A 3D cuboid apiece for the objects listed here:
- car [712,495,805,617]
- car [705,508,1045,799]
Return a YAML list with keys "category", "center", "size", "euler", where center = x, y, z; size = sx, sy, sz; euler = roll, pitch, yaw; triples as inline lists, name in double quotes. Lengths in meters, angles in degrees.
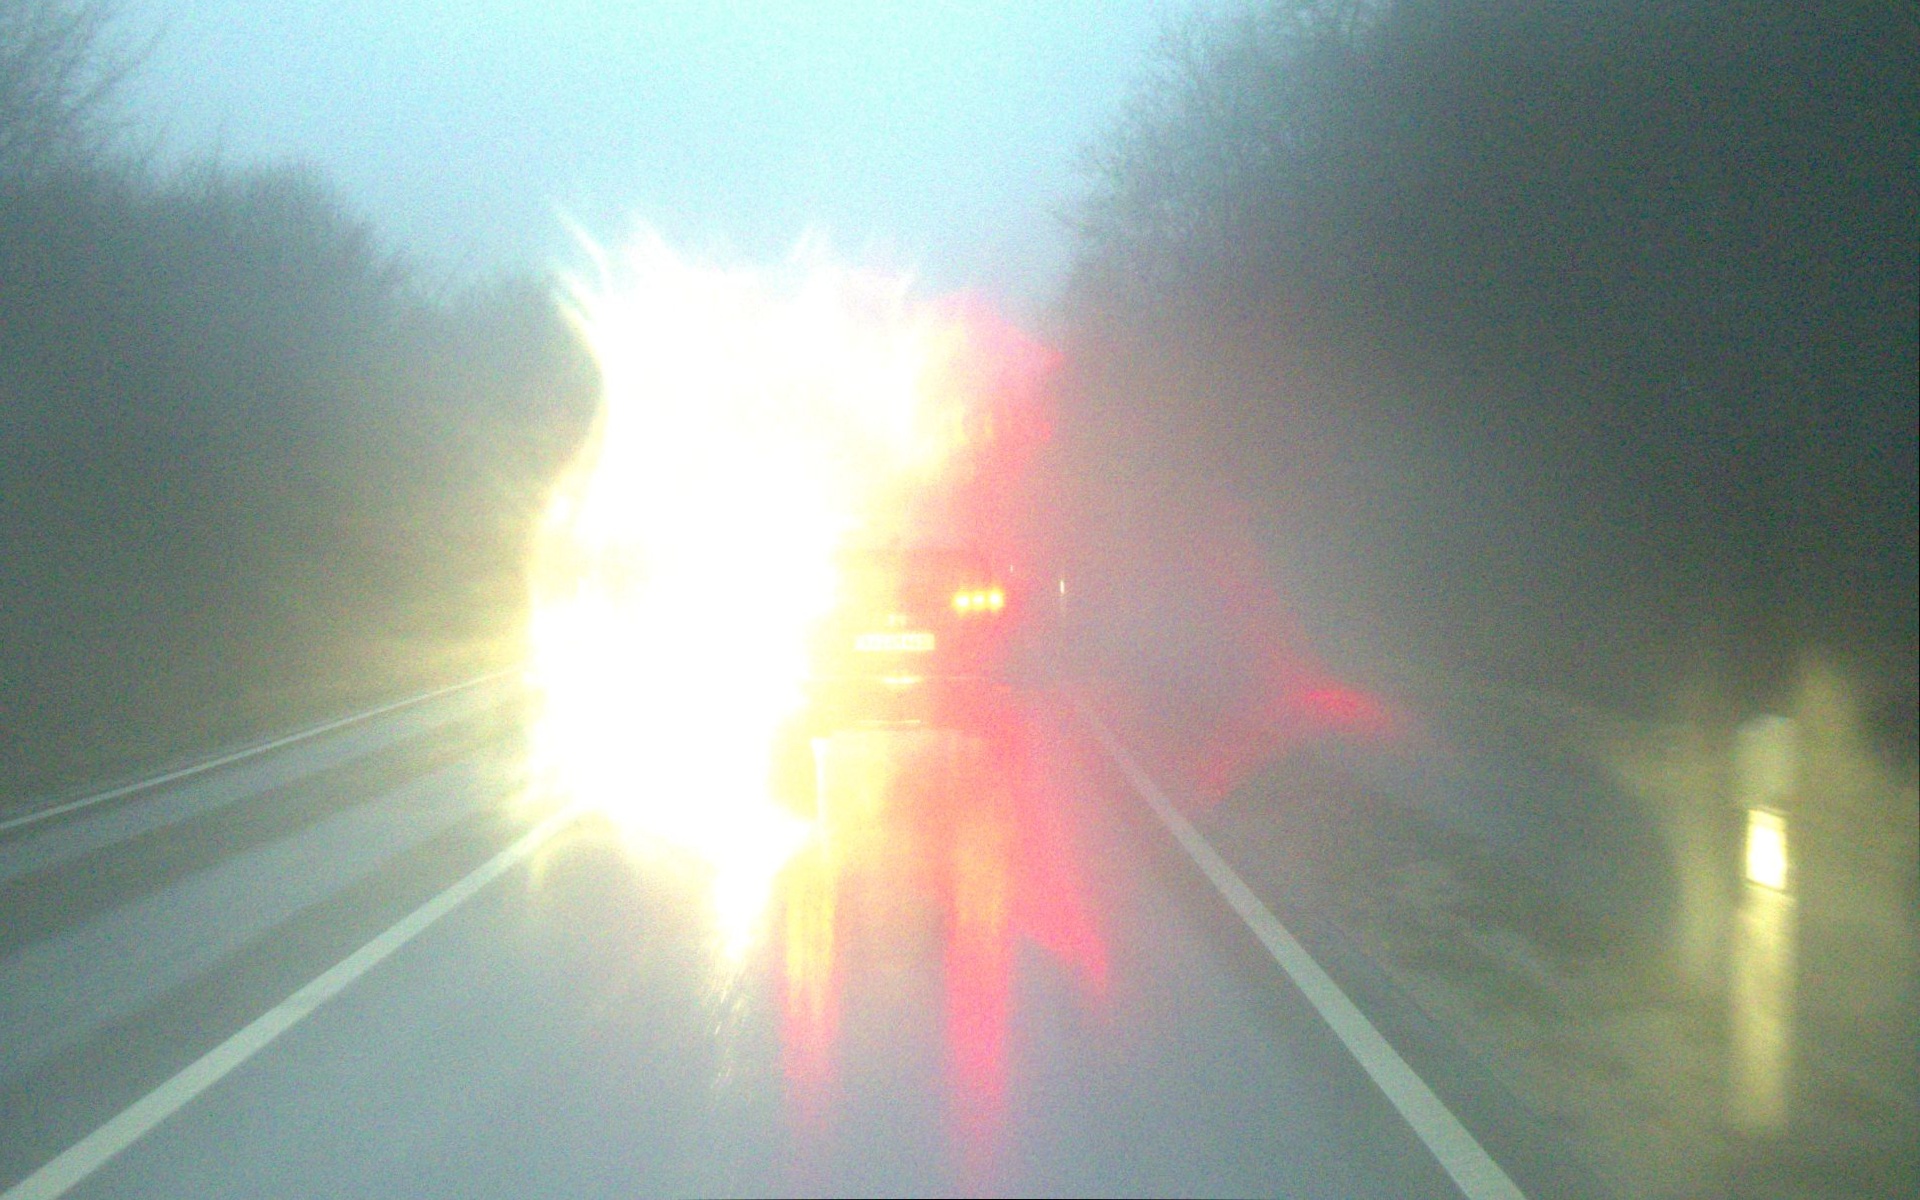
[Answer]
- category: "car"
  center: [-4.898, -1.052, 82.830]
  size: [2.073, 2.801, 6.654]
  euler: [0, 1, -4]
- category: "car"
  center: [-0.576, 0.323, 24.723]
  size: [2.198, 1.871, 4.827]
  euler: [0, 1, -1]
